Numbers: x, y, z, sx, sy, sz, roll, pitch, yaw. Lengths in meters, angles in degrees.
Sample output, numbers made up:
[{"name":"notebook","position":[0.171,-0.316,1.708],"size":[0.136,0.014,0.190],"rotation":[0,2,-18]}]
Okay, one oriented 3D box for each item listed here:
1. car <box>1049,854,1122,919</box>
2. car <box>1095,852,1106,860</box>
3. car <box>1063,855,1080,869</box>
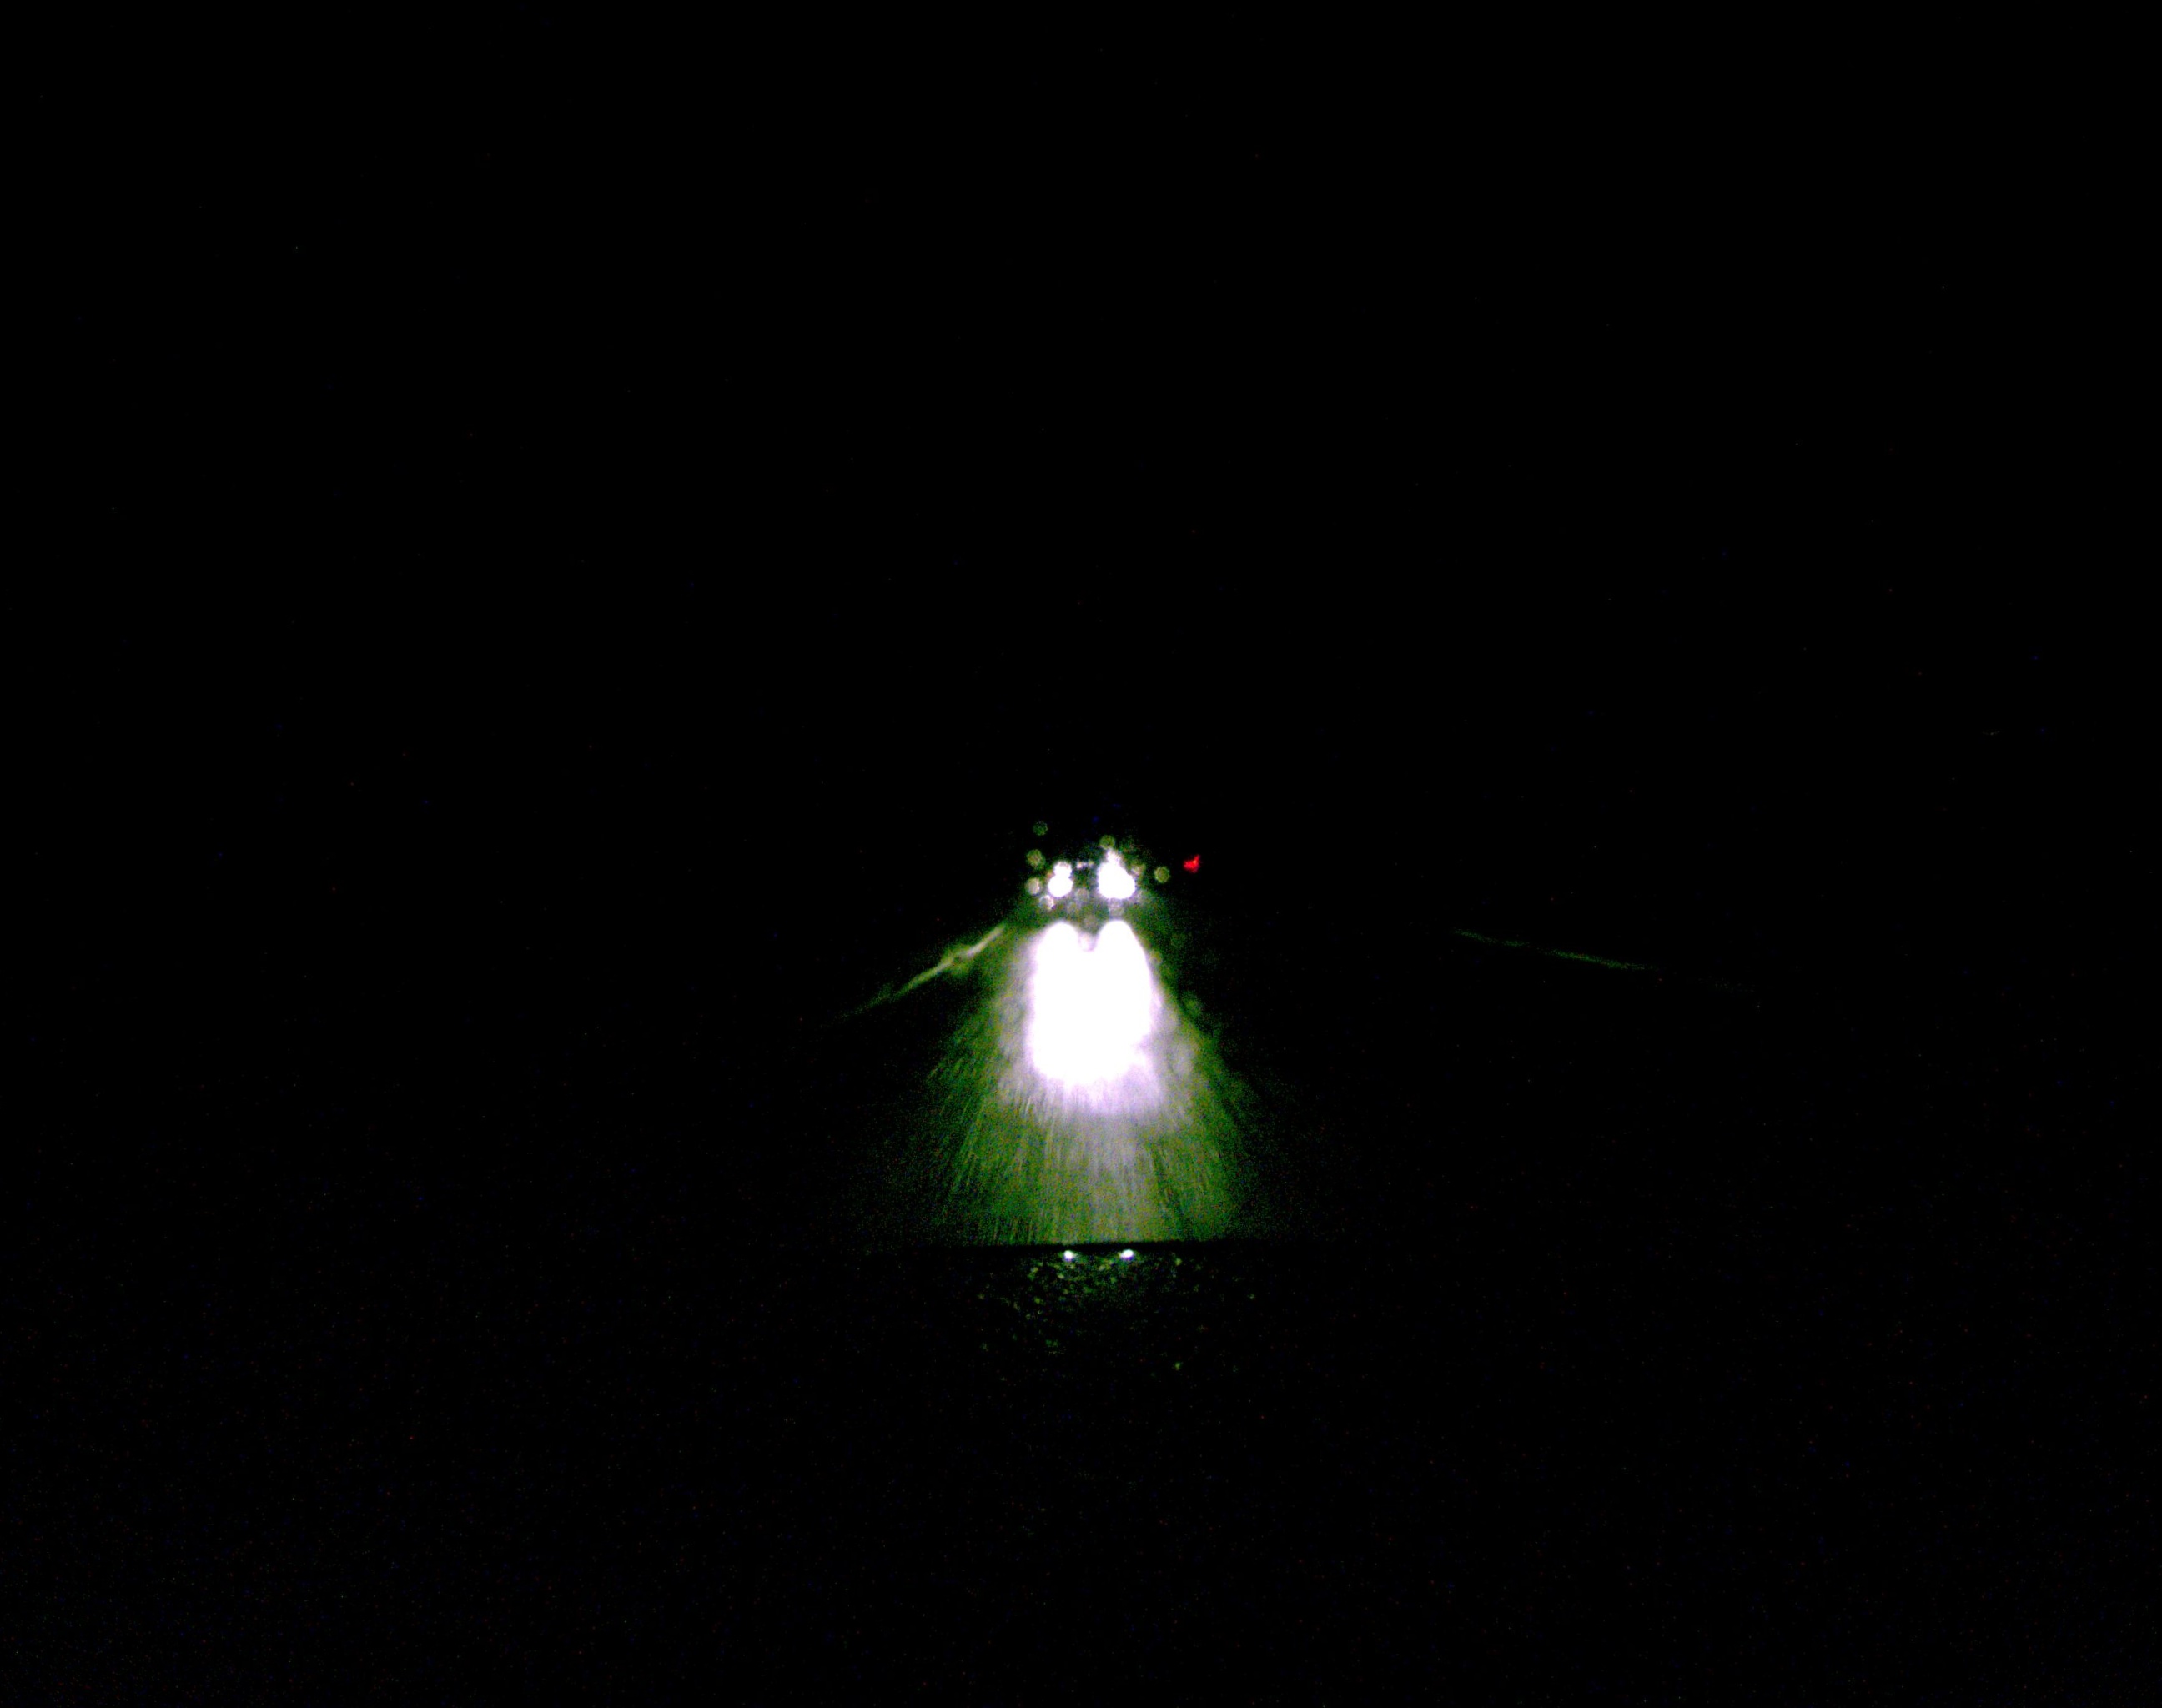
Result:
[{"name":"car","position":[0.146,0.842,21.681],"size":[1.846,1.565,4.000],"rotation":[-2,1,1]},{"name":"car","position":[4.219,0.384,164.519],"size":[1.909,1.461,4.273],"rotation":[-4,0,-2]},{"name":"car","position":[-1.145,0.956,93.332],"size":[1.846,1.565,4.000],"rotation":[-2,1,1]}]
